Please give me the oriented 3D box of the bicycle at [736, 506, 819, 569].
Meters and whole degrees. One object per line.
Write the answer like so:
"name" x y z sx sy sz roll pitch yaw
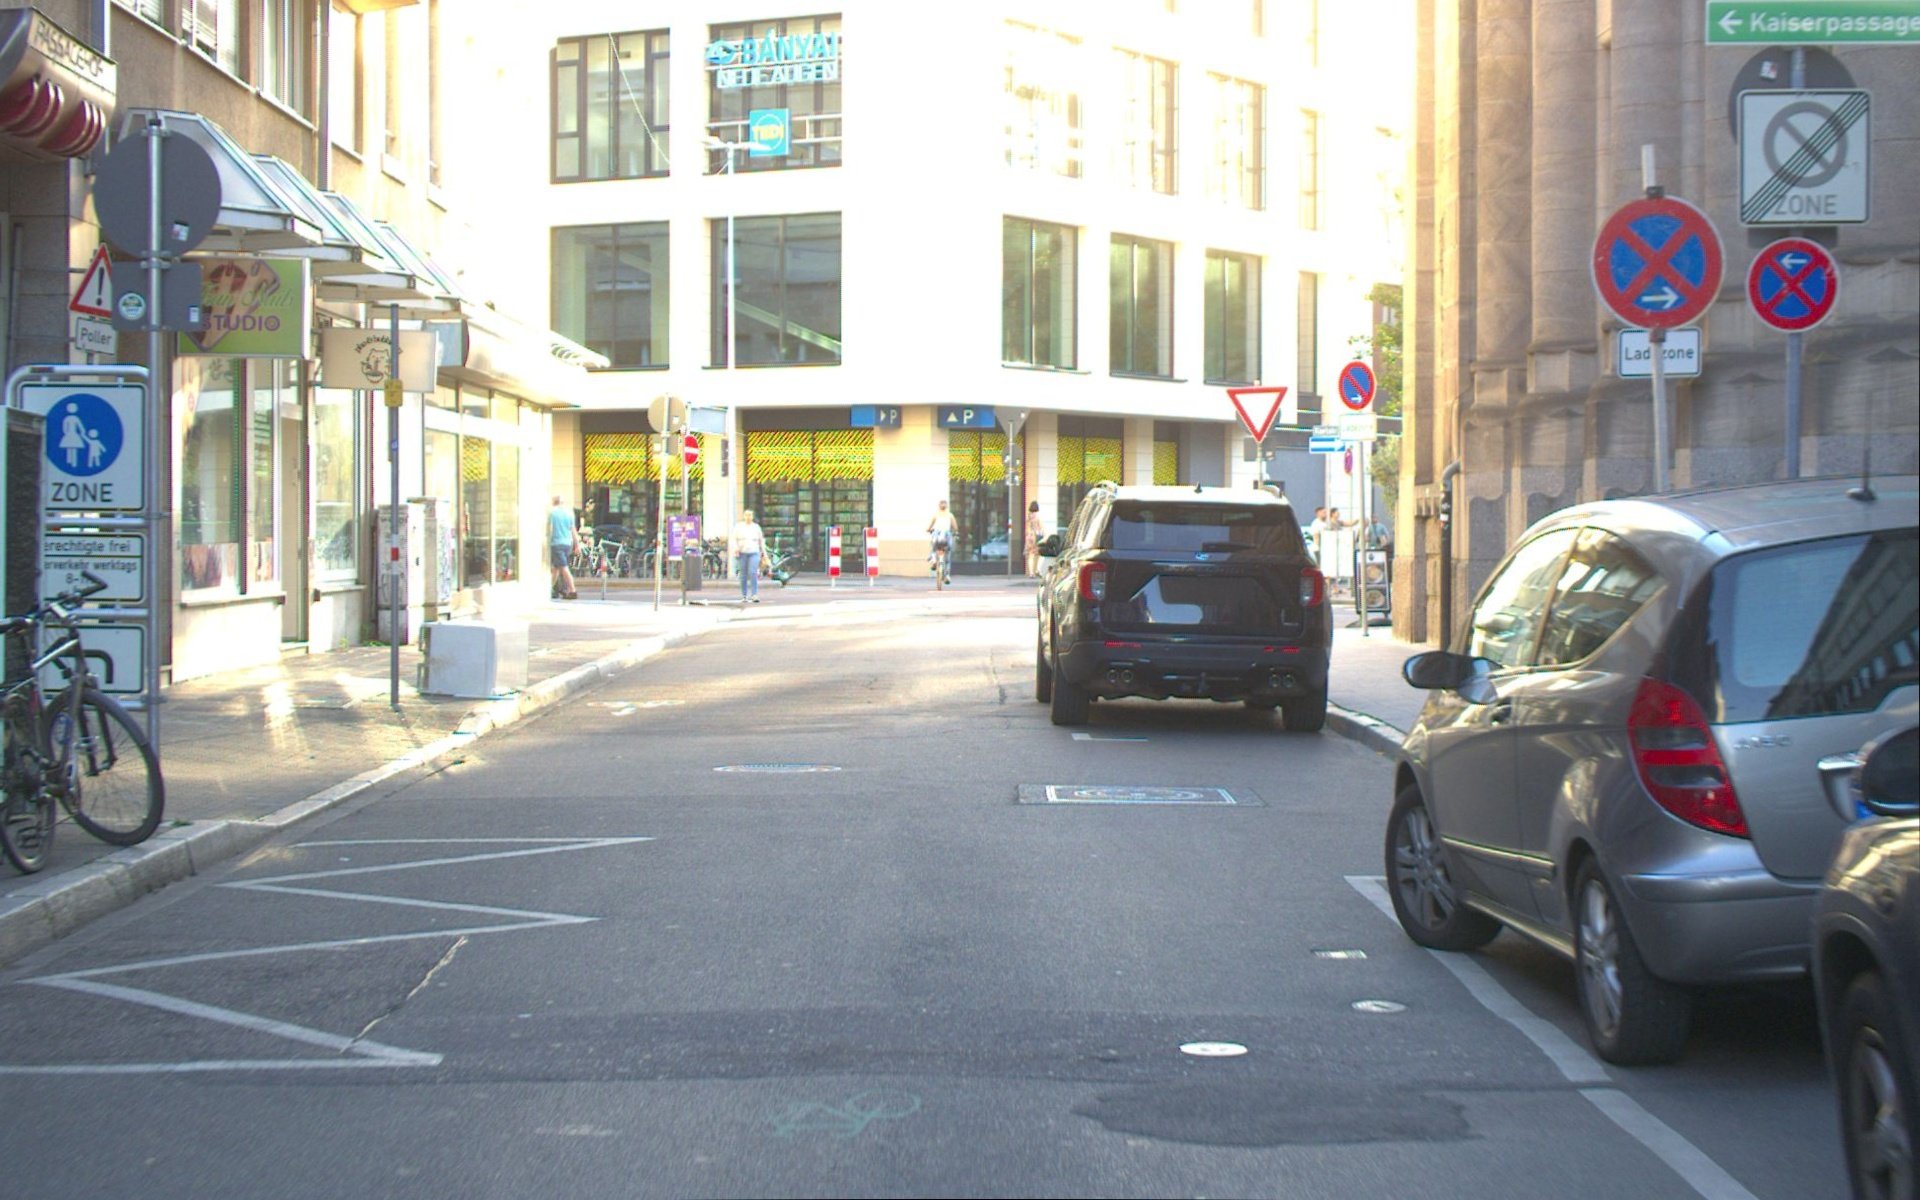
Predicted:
"bicycle" -3.688 -1.255 69.709 0.665 1.250 2.137 1 1 27

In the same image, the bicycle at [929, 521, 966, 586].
"bicycle" -0.246 -0.909 67.493 0.610 1.250 1.979 1 1 -3

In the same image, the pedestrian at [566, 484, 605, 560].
"pedestrian" -8.607 -1.791 79.018 0.635 1.717 0.845 0 1 -25

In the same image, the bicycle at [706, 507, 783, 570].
"bicycle" -4.385 -1.253 70.034 0.582 1.250 2.041 1 1 27

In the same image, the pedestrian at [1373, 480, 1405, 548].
"pedestrian" 11.781 -2.360 94.393 0.673 1.830 0.646 1 1 29

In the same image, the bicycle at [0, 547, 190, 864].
"bicycle" -3.621 0.390 14.078 0.543 1.187 1.842 1 2 -1

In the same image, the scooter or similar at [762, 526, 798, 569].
"scooter or similar" -3.732 -1.083 71.320 0.387 0.881 0.769 1 1 29

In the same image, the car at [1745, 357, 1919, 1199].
"car" 2.556 0.501 5.360 1.670 1.800 4.240 2 1 0

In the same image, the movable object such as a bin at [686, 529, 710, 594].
"movable object such as a bin" -4.338 -0.640 56.880 0.359 1.060 0.356 0 1 -11

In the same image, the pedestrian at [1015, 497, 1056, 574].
"pedestrian" 1.725 -1.477 78.385 0.673 1.738 0.646 1 1 31

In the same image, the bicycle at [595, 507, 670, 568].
"bicycle" -6.795 -1.295 71.466 0.512 1.250 1.976 1 1 28

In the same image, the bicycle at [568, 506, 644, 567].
"bicycle" -7.377 -1.319 71.754 0.512 1.250 1.976 1 1 29

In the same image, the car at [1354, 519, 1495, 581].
"car" 12.408 -1.350 91.671 1.887 1.592 4.680 1 2 33

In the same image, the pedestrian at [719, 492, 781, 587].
"pedestrian" -3.585 -1.025 58.524 0.802 1.607 0.735 0 1 -29

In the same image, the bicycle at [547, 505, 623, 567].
"bicycle" -7.855 -1.333 72.067 0.512 1.250 1.976 1 1 29

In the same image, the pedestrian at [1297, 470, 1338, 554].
"pedestrian" 7.217 -1.778 69.375 0.704 1.664 0.642 1 3 17

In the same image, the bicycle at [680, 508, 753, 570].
"bicycle" -4.969 -1.242 70.298 0.512 1.250 1.976 1 1 27

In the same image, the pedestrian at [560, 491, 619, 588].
"pedestrian" -6.377 -1.036 59.124 0.869 1.652 0.619 0 1 -20

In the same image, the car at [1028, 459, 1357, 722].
"car" 1.642 -0.131 26.011 1.993 1.777 4.935 1 2 -2

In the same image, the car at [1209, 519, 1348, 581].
"car" 7.814 -1.235 84.048 1.780 1.448 4.224 1 1 29

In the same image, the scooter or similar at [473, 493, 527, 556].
"scooter or similar" -9.397 -1.536 70.235 0.387 1.256 1.269 1 1 29

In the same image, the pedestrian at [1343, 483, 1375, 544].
"pedestrian" 11.017 -2.386 94.853 0.673 1.669 0.646 1 1 29

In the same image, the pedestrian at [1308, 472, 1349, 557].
"pedestrian" 7.345 -1.708 68.490 0.704 1.664 0.642 1 3 17

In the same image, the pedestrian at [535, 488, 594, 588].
"pedestrian" -6.451 -1.015 56.077 0.732 1.607 0.804 1 1 11

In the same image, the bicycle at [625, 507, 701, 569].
"bicycle" -6.130 -1.267 71.047 0.512 1.250 1.976 1 1 29

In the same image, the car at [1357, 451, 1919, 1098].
"car" 2.484 0.404 10.860 1.773 1.660 4.001 0 1 -3

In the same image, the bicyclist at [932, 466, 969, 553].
"bicyclist" -0.189 -1.776 67.321 0.682 1.689 0.644 1 1 -4
